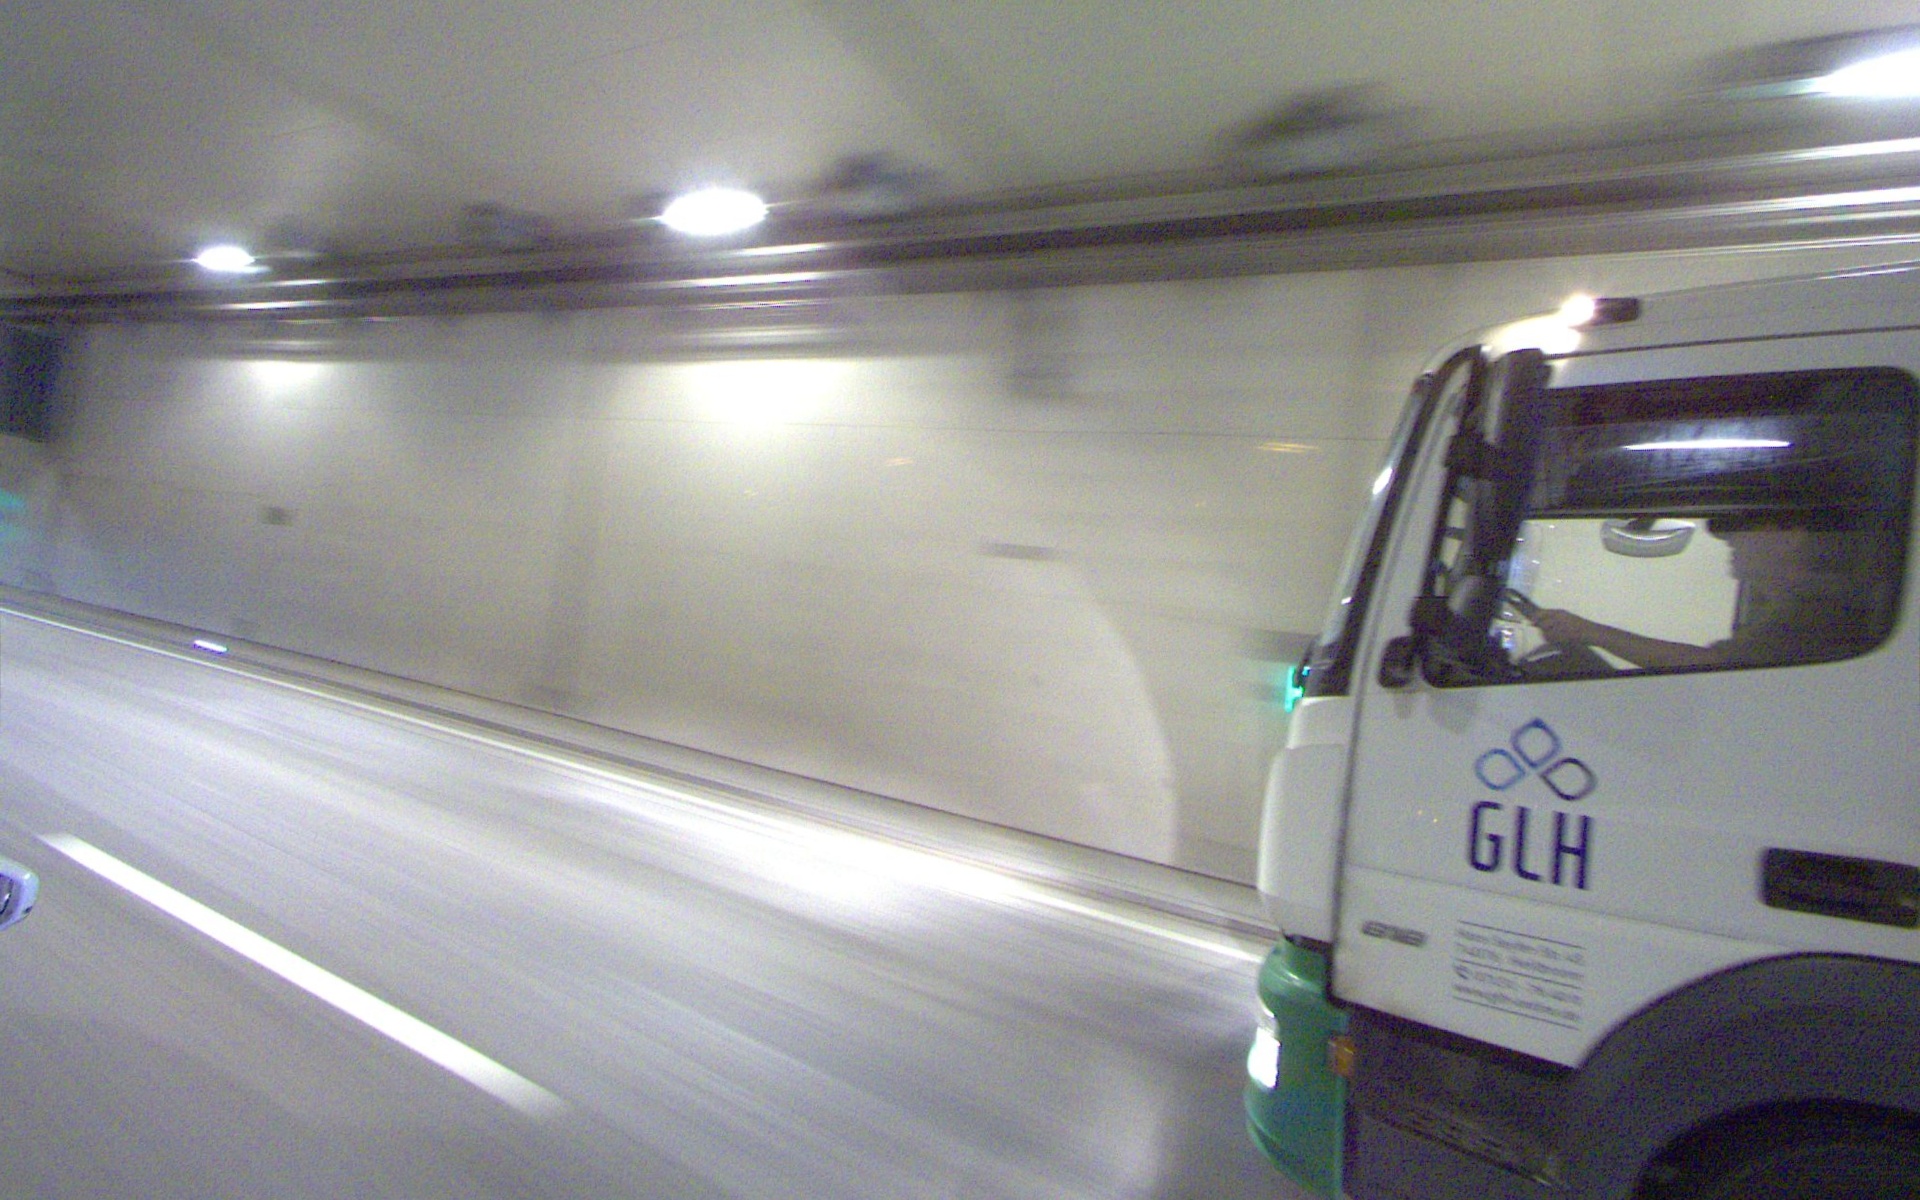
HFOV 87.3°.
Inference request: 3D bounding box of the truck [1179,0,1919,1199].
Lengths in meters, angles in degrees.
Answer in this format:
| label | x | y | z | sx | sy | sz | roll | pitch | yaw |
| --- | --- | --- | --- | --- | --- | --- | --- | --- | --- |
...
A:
| label | x | y | z | sx | sy | sz | roll | pitch | yaw |
| --- | --- | --- | --- | --- | --- | --- | --- | --- | --- |
| truck | 4.358 | 0.494 | 1.661 | 7.125 | 3.218 | 2.559 | 6 | -2 | 31 |
